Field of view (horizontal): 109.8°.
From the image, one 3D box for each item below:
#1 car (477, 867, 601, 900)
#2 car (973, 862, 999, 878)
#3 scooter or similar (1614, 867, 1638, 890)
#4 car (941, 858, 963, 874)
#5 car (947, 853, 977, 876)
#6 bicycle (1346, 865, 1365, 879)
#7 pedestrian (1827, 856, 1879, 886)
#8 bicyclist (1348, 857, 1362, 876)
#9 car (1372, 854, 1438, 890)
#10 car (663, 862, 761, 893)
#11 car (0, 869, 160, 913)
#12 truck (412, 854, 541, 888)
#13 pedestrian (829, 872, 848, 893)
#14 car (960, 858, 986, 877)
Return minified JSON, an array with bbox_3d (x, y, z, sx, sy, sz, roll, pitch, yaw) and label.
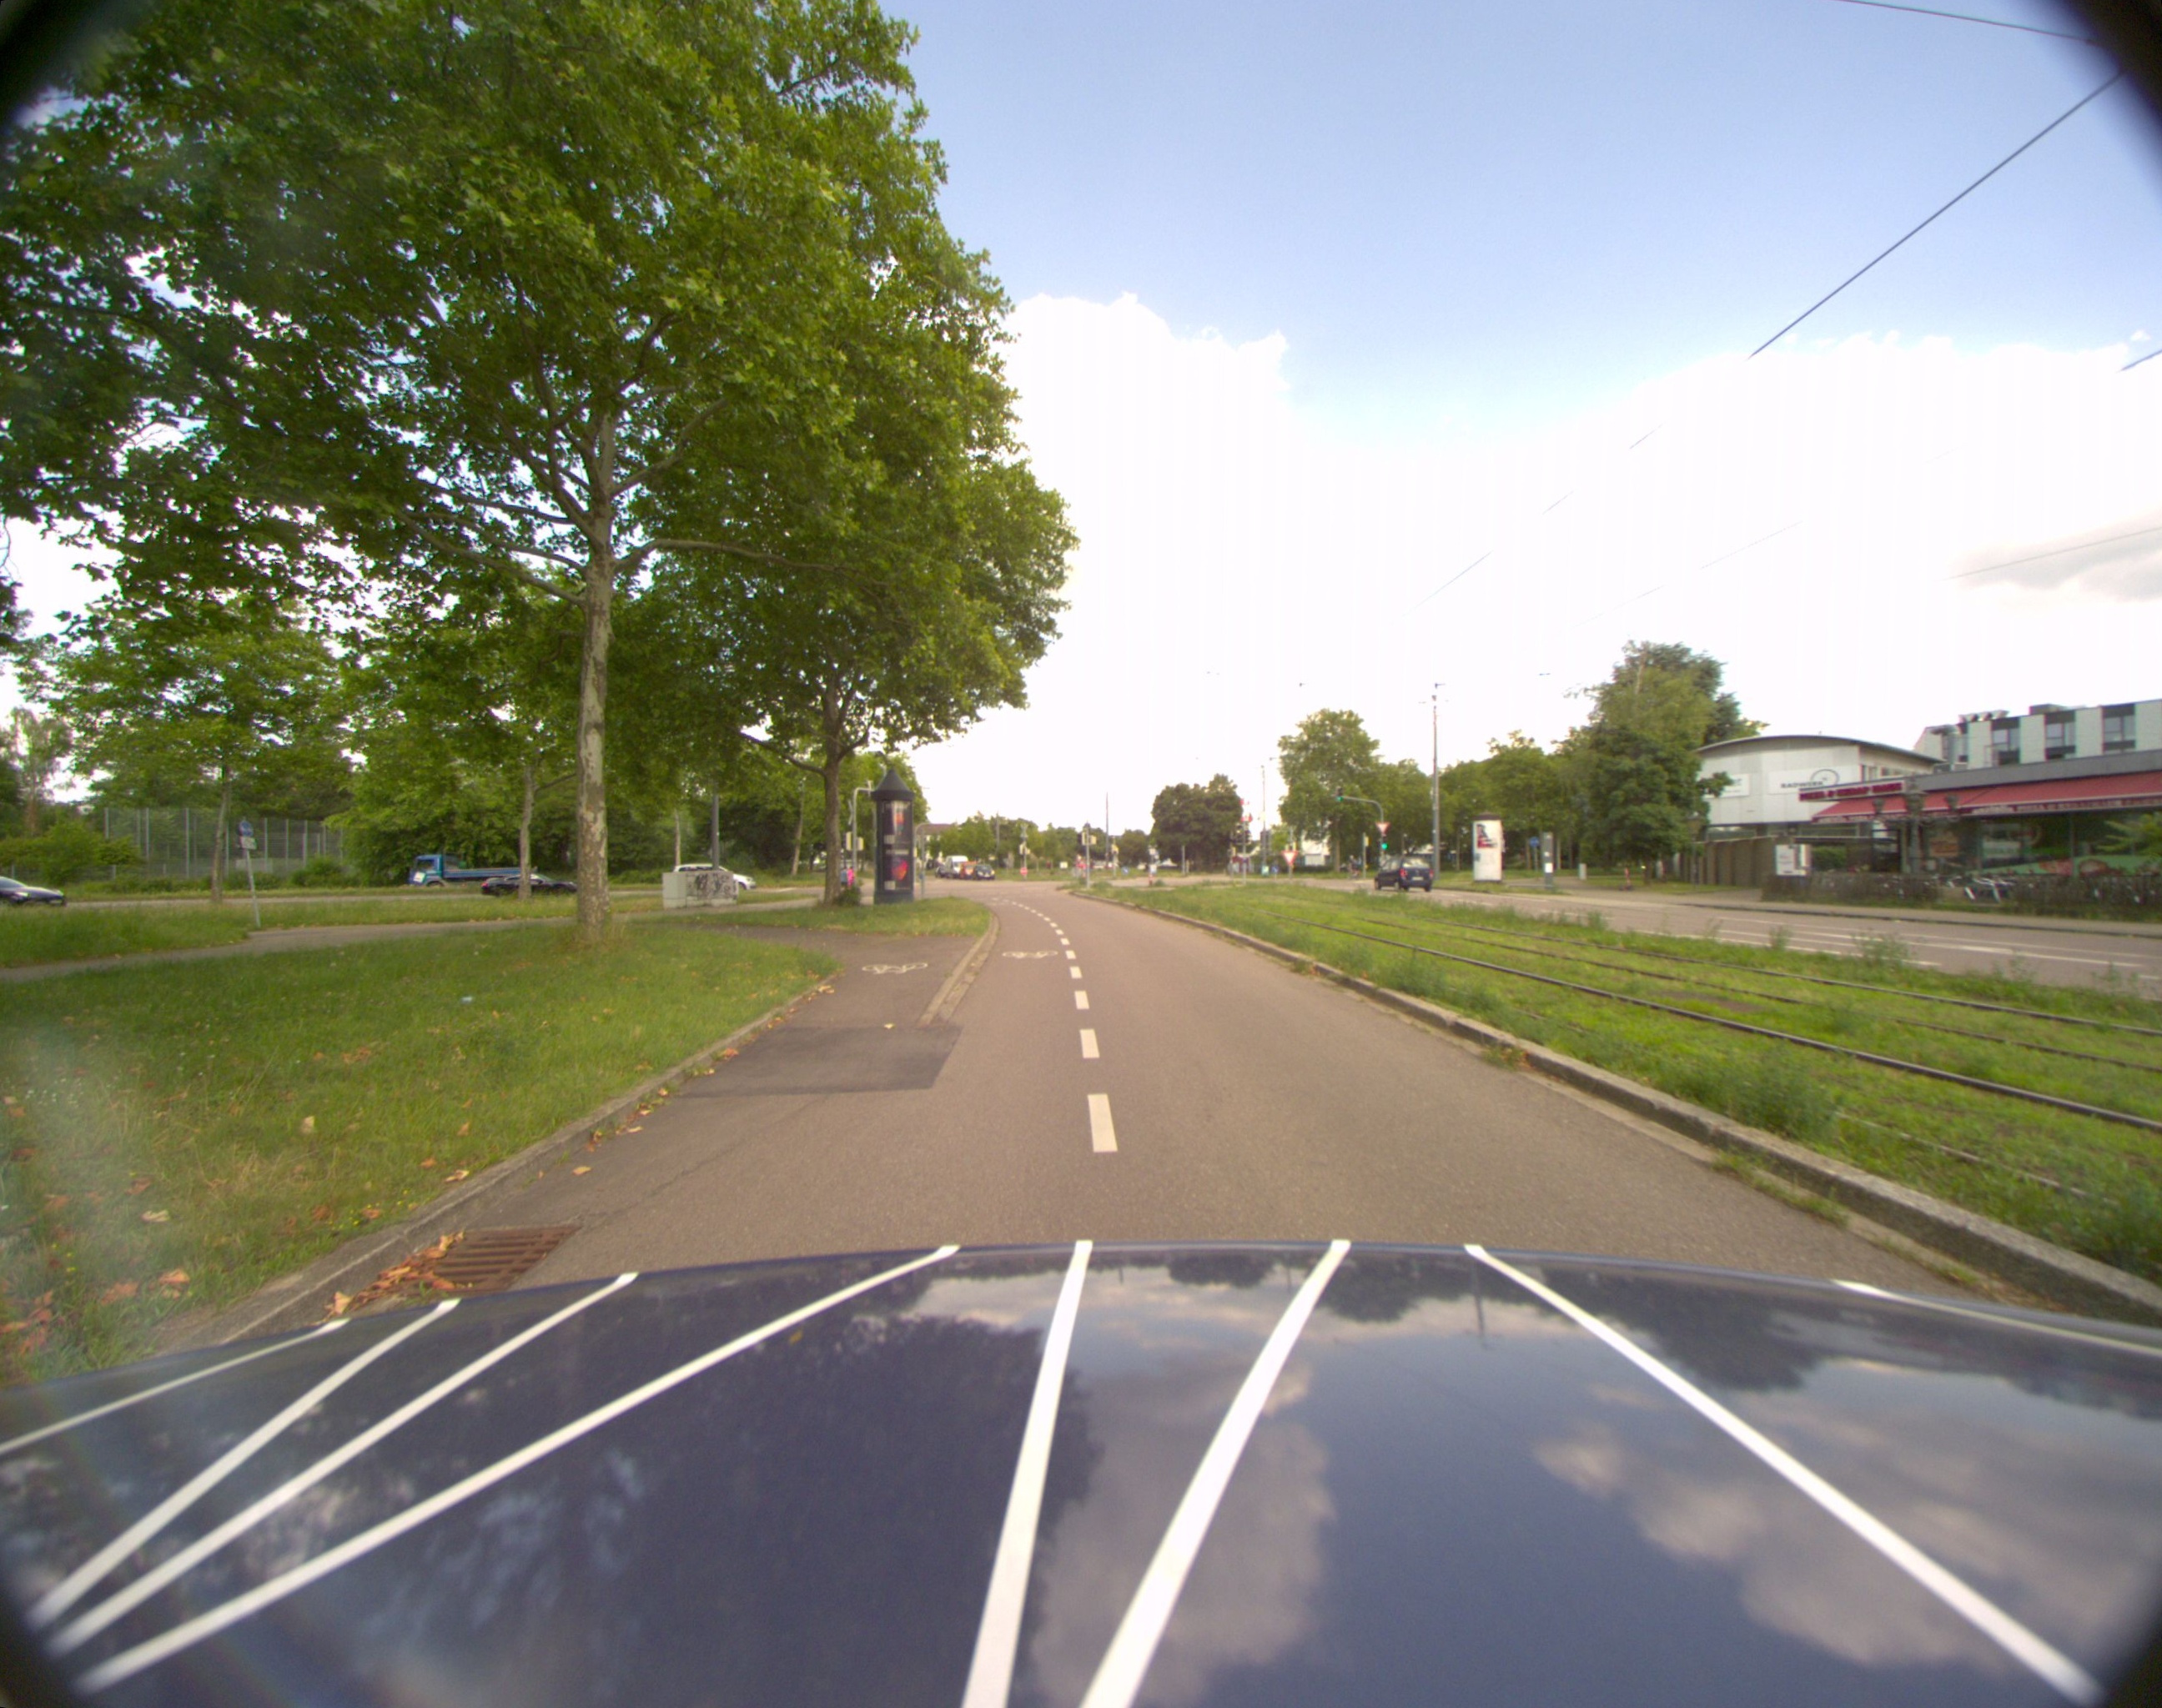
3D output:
[{"bbox_3d":[-27.557,1.471,38.830,4.754,1.461,1.996,0,1,-21],"label":"car"},{"bbox_3d":[-9.371,1.578,74.769,1.798,1.530,3.994,-1,0,-19],"label":"car"},{"bbox_3d":[25.099,1.105,35.002,0.427,1.027,1.224,-1,0,10],"label":"scooter or similar"},{"bbox_3d":[-15.607,1.422,92.028,1.798,1.924,4.361,-1,0,-20],"label":"car"},{"bbox_3d":[-13.621,1.223,86.656,2.242,2.492,5.716,-1,0,-21],"label":"car"},{"bbox_3d":[20.798,1.360,57.673,0.804,1.053,2.070,-2,-2,4],"label":"bicycle"},{"bbox_3d":[30.735,0.668,30.263,1.156,1.139,0.932,0,0,1],"label":"pedestrian"},{"bbox_3d":[20.793,0.945,57.692,0.804,1.461,0.833,-2,-1,4],"label":"bicyclist"},{"bbox_3d":[15.465,0.841,36.500,1.783,1.617,3.496,0,0,2],"label":"car"},{"bbox_3d":[-20.343,1.255,42.091,4.692,1.601,1.996,0,1,-21],"label":"car"},{"bbox_3d":[-41.283,1.480,30.770,4.691,1.601,1.996,0,1,-21],"label":"car"},{"bbox_3d":[-37.628,1.024,47.486,5.860,2.002,2.289,0,0,-17],"label":"truck"},{"bbox_3d":[-12.129,1.409,37.991,0.722,1.028,0.901,-1,0,-7],"label":"pedestrian"},{"bbox_3d":[-11.469,1.456,80.487,1.798,1.924,4.361,-1,0,-20],"label":"car"}]
